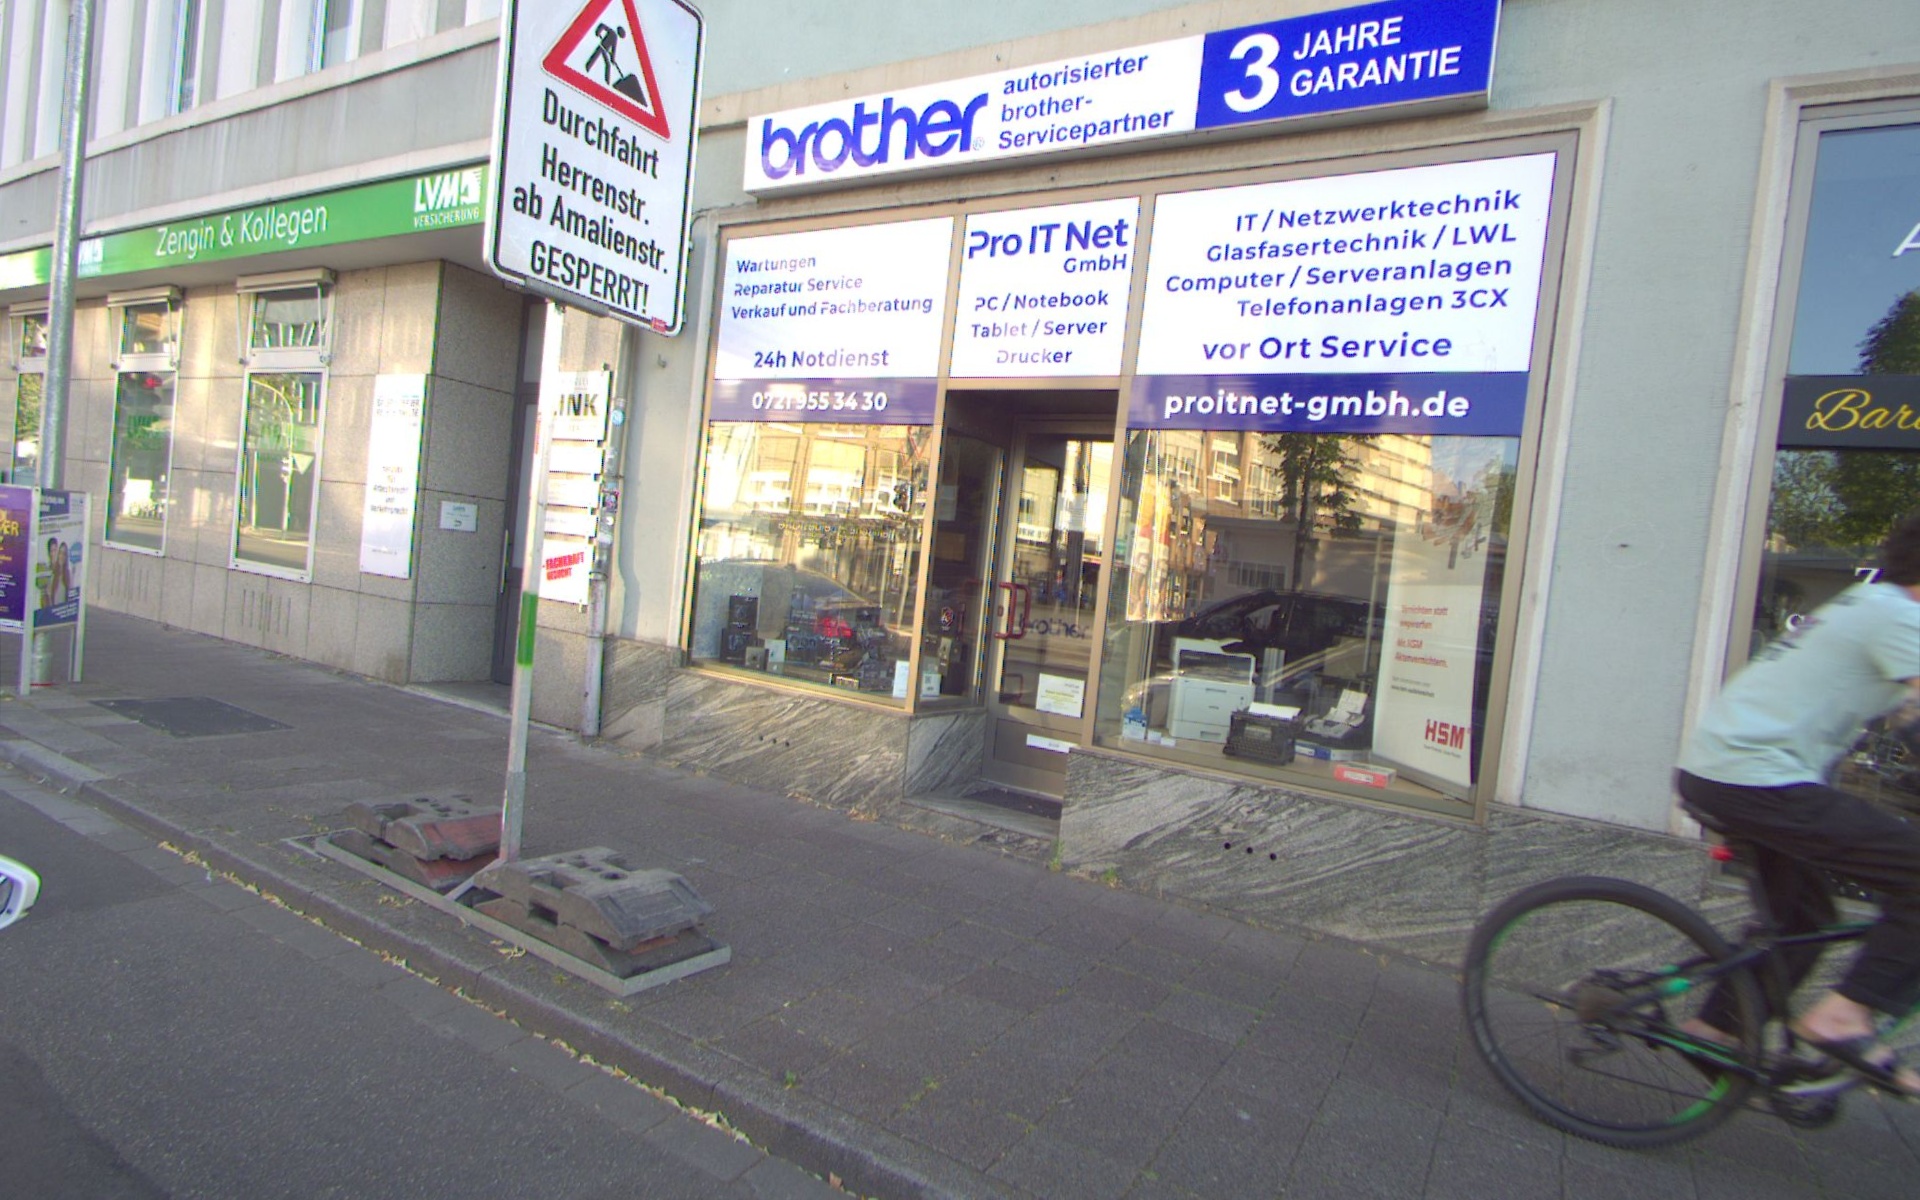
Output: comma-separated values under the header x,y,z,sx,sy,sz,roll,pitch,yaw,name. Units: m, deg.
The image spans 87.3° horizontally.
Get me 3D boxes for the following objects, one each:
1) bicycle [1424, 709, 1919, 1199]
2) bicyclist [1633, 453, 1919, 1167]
x,y,z,sx,sy,sz,roll,pitch,yaw,name
2.257,0.988,2.463,1.864,1.121,0.690,7,2,31,bicycle
2.302,0.477,2.471,0.885,1.527,0.722,7,2,32,bicyclist
